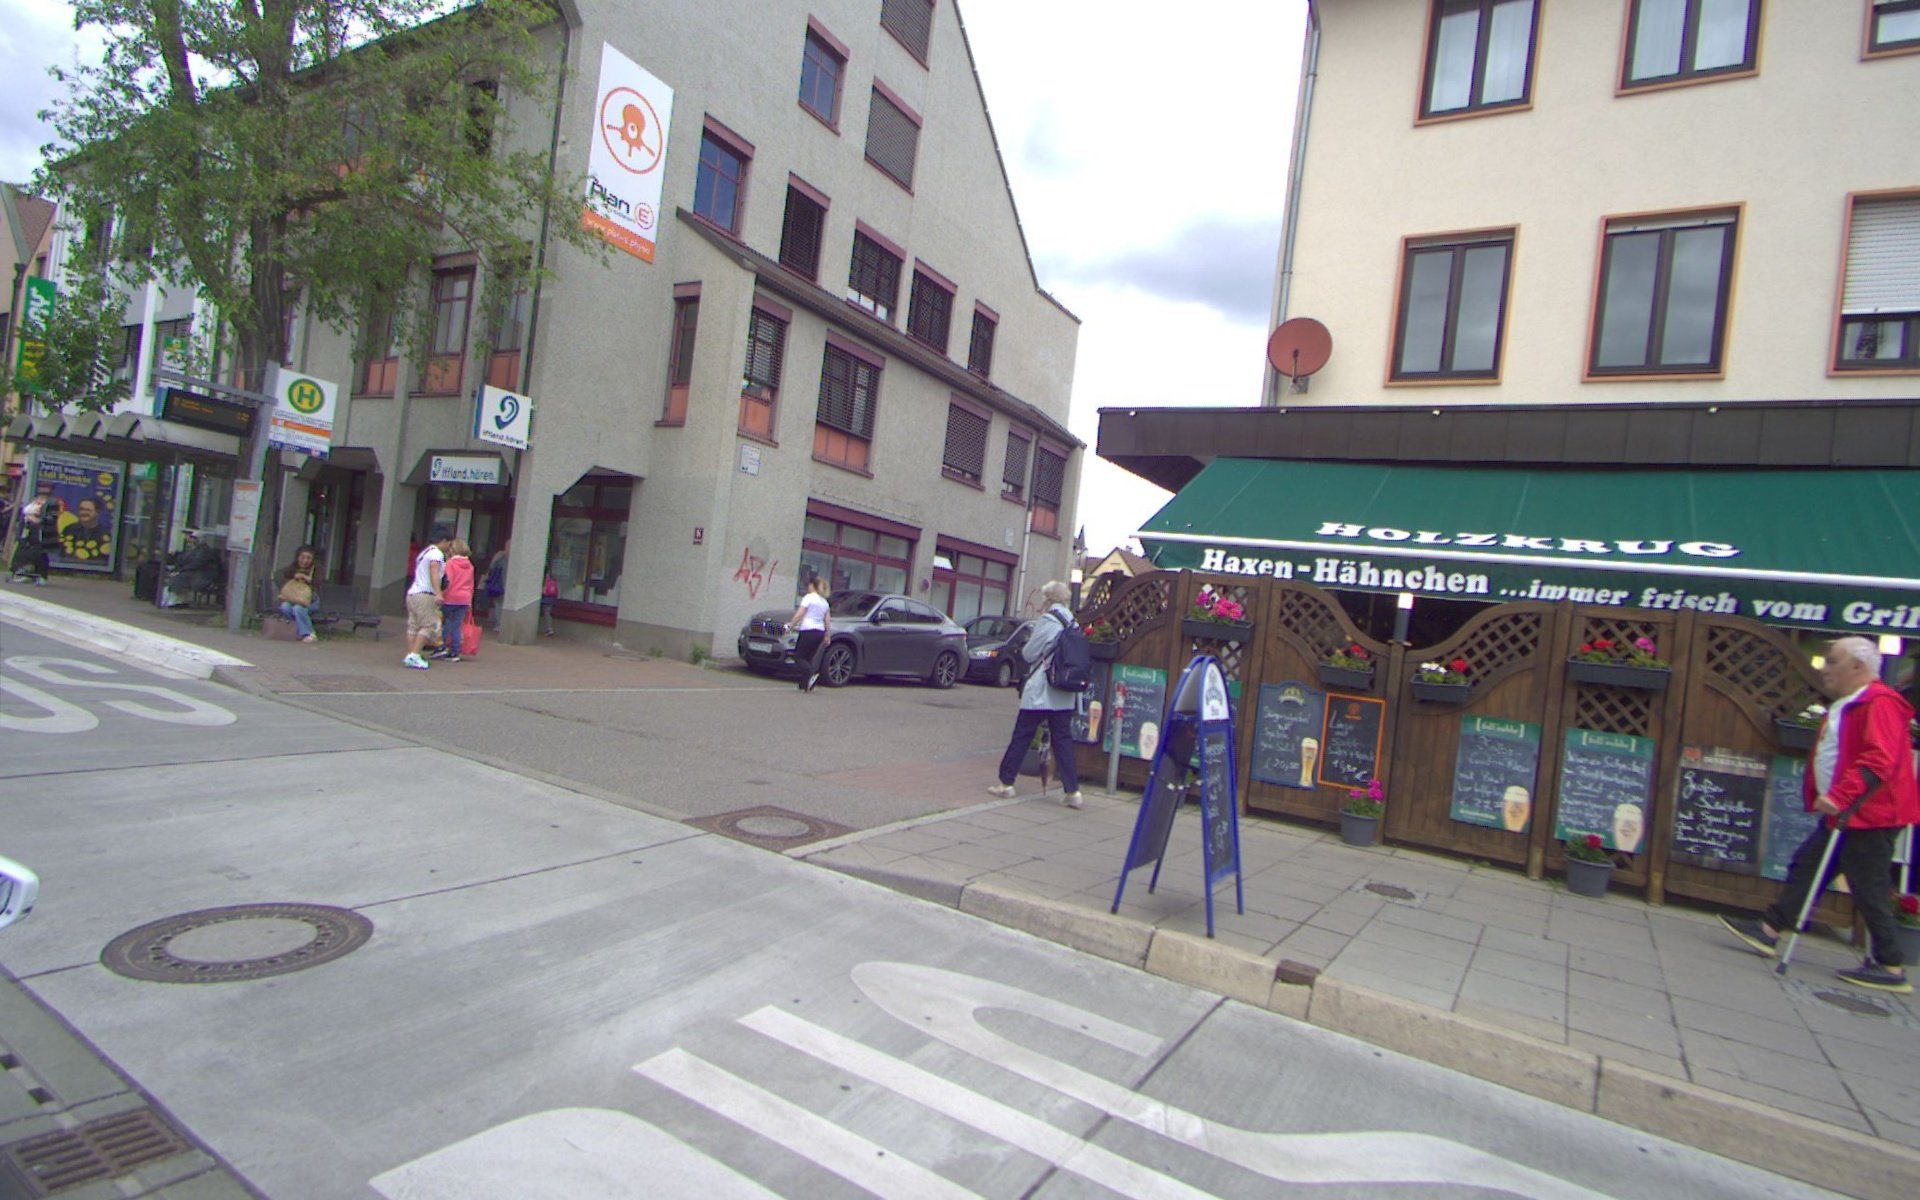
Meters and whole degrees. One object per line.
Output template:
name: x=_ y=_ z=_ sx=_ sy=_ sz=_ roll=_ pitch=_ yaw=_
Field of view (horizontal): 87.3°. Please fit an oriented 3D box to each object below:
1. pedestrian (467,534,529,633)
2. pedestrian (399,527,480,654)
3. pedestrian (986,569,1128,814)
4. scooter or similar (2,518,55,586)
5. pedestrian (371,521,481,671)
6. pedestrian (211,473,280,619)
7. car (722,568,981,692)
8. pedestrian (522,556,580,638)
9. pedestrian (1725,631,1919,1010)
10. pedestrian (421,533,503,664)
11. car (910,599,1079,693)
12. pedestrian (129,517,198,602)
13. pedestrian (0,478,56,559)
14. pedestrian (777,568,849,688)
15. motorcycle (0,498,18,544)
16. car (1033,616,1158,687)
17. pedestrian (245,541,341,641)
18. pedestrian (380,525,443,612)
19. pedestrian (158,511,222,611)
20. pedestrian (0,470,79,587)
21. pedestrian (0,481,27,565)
pedestrian: x=-8.267 y=-0.293 z=18.011 sx=0.605 sy=1.654 sz=0.587 roll=7 pitch=0 yaw=33
pedestrian: x=-7.225 y=-0.133 z=13.967 sx=0.579 sy=1.654 sz=0.613 roll=7 pitch=-1 yaw=37
pedestrian: x=0.770 y=0.684 z=7.869 sx=0.768 sy=1.764 sz=0.683 roll=5 pitch=1 yaw=27
scooter or similar: x=-14.008 y=-0.714 z=15.134 sx=0.349 sy=0.971 sz=0.384 roll=7 pitch=0 yaw=-9
pedestrian: x=-6.343 y=-0.038 z=11.967 sx=0.779 sy=1.654 sz=0.615 roll=8 pitch=0 yaw=19
pedestrian: x=-10.564 y=-0.789 z=14.872 sx=0.611 sy=2.073 sz=0.580 roll=4 pitch=2 yaw=-45
car: x=-1.767 y=0.616 z=17.914 sx=1.851 sy=1.638 sz=4.609 roll=7 pitch=-2 yaw=36
pedestrian: x=-7.442 y=-0.052 z=18.304 sx=0.605 sy=1.392 sz=0.587 roll=7 pitch=-1 yaw=34
pedestrian: x=4.659 y=1.085 z=5.259 sx=0.768 sy=1.764 sz=0.796 roll=5 pitch=1 yaw=26
pedestrian: x=-6.495 y=-0.022 z=13.112 sx=0.669 sy=1.585 sz=0.486 roll=9 pitch=0 yaw=-38
car: x=0.865 y=1.073 z=22.385 sx=1.807 sy=1.638 sz=3.943 roll=7 pitch=-2 yaw=34
pedestrian: x=-12.525 y=-0.636 z=15.815 sx=0.580 sy=1.248 sz=0.698 roll=7 pitch=2 yaw=41
pedestrian: x=-20.042 y=-1.735 z=21.610 sx=0.578 sy=1.631 sz=0.613 roll=6 pitch=0 yaw=-13
pedestrian: x=-2.124 y=0.411 z=14.554 sx=0.605 sy=1.654 sz=0.587 roll=7 pitch=0 yaw=32
motorcycle: x=-29.191 y=-2.454 z=30.103 sx=2.071 sy=1.286 sz=0.738 roll=7 pitch=0 yaw=28
car: x=3.777 y=1.452 z=27.479 sx=1.806 sy=1.525 sz=3.945 roll=7 pitch=-2 yaw=32
pedestrian: x=-8.645 y=-0.108 z=13.058 sx=0.577 sy=1.179 sz=0.714 roll=8 pitch=-1 yaw=25
pedestrian: x=-11.131 y=-0.630 z=20.419 sx=0.604 sy=1.654 sz=0.728 roll=7 pitch=0 yaw=24
pedestrian: x=-11.500 y=-0.583 z=15.030 sx=0.611 sy=1.419 sz=0.580 roll=5 pitch=1 yaw=-45
pedestrian: x=-14.202 y=-1.088 z=15.446 sx=0.577 sy=1.652 sz=0.537 roll=9 pitch=-2 yaw=8
pedestrian: x=-20.930 y=-1.702 z=21.844 sx=0.578 sy=1.758 sz=0.615 roll=8 pitch=-3 yaw=29
